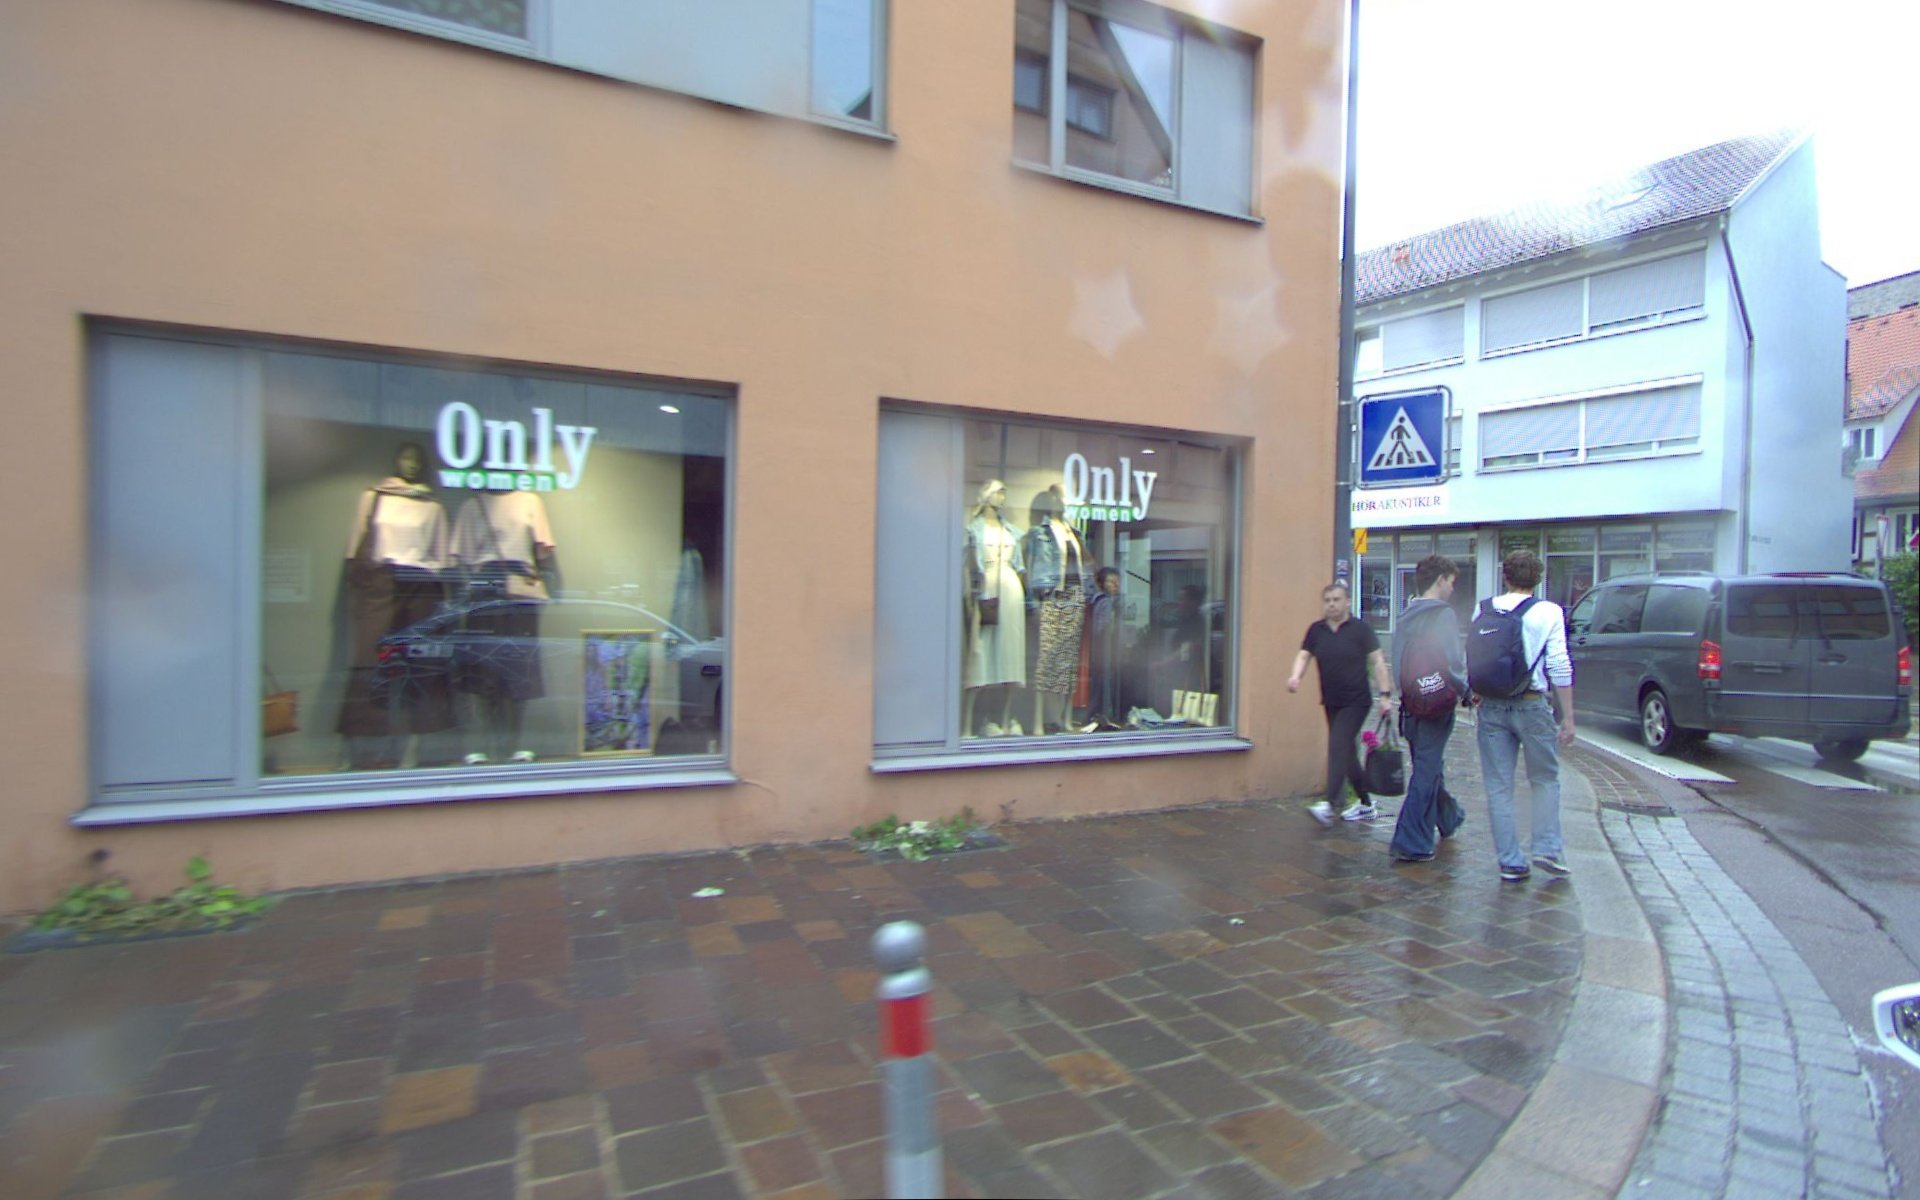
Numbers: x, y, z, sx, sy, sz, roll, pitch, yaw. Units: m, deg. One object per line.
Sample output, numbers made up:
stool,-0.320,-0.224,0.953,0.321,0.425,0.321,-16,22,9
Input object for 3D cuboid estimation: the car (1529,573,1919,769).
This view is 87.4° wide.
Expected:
car,8.515,0.626,11.720,1.913,1.805,4.729,0,1,12

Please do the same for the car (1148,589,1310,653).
car,7.437,0.523,28.105,1.679,1.634,4.177,0,1,-40

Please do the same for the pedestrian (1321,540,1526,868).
pedestrian,2.843,0.587,6.160,1.047,1.824,0.688,1,0,-34

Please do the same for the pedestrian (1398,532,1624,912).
pedestrian,2.978,0.598,5.422,1.050,1.831,0.659,1,0,-35

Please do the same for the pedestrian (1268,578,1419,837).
pedestrian,2.575,0.682,6.771,0.675,1.631,0.657,1,0,-26
